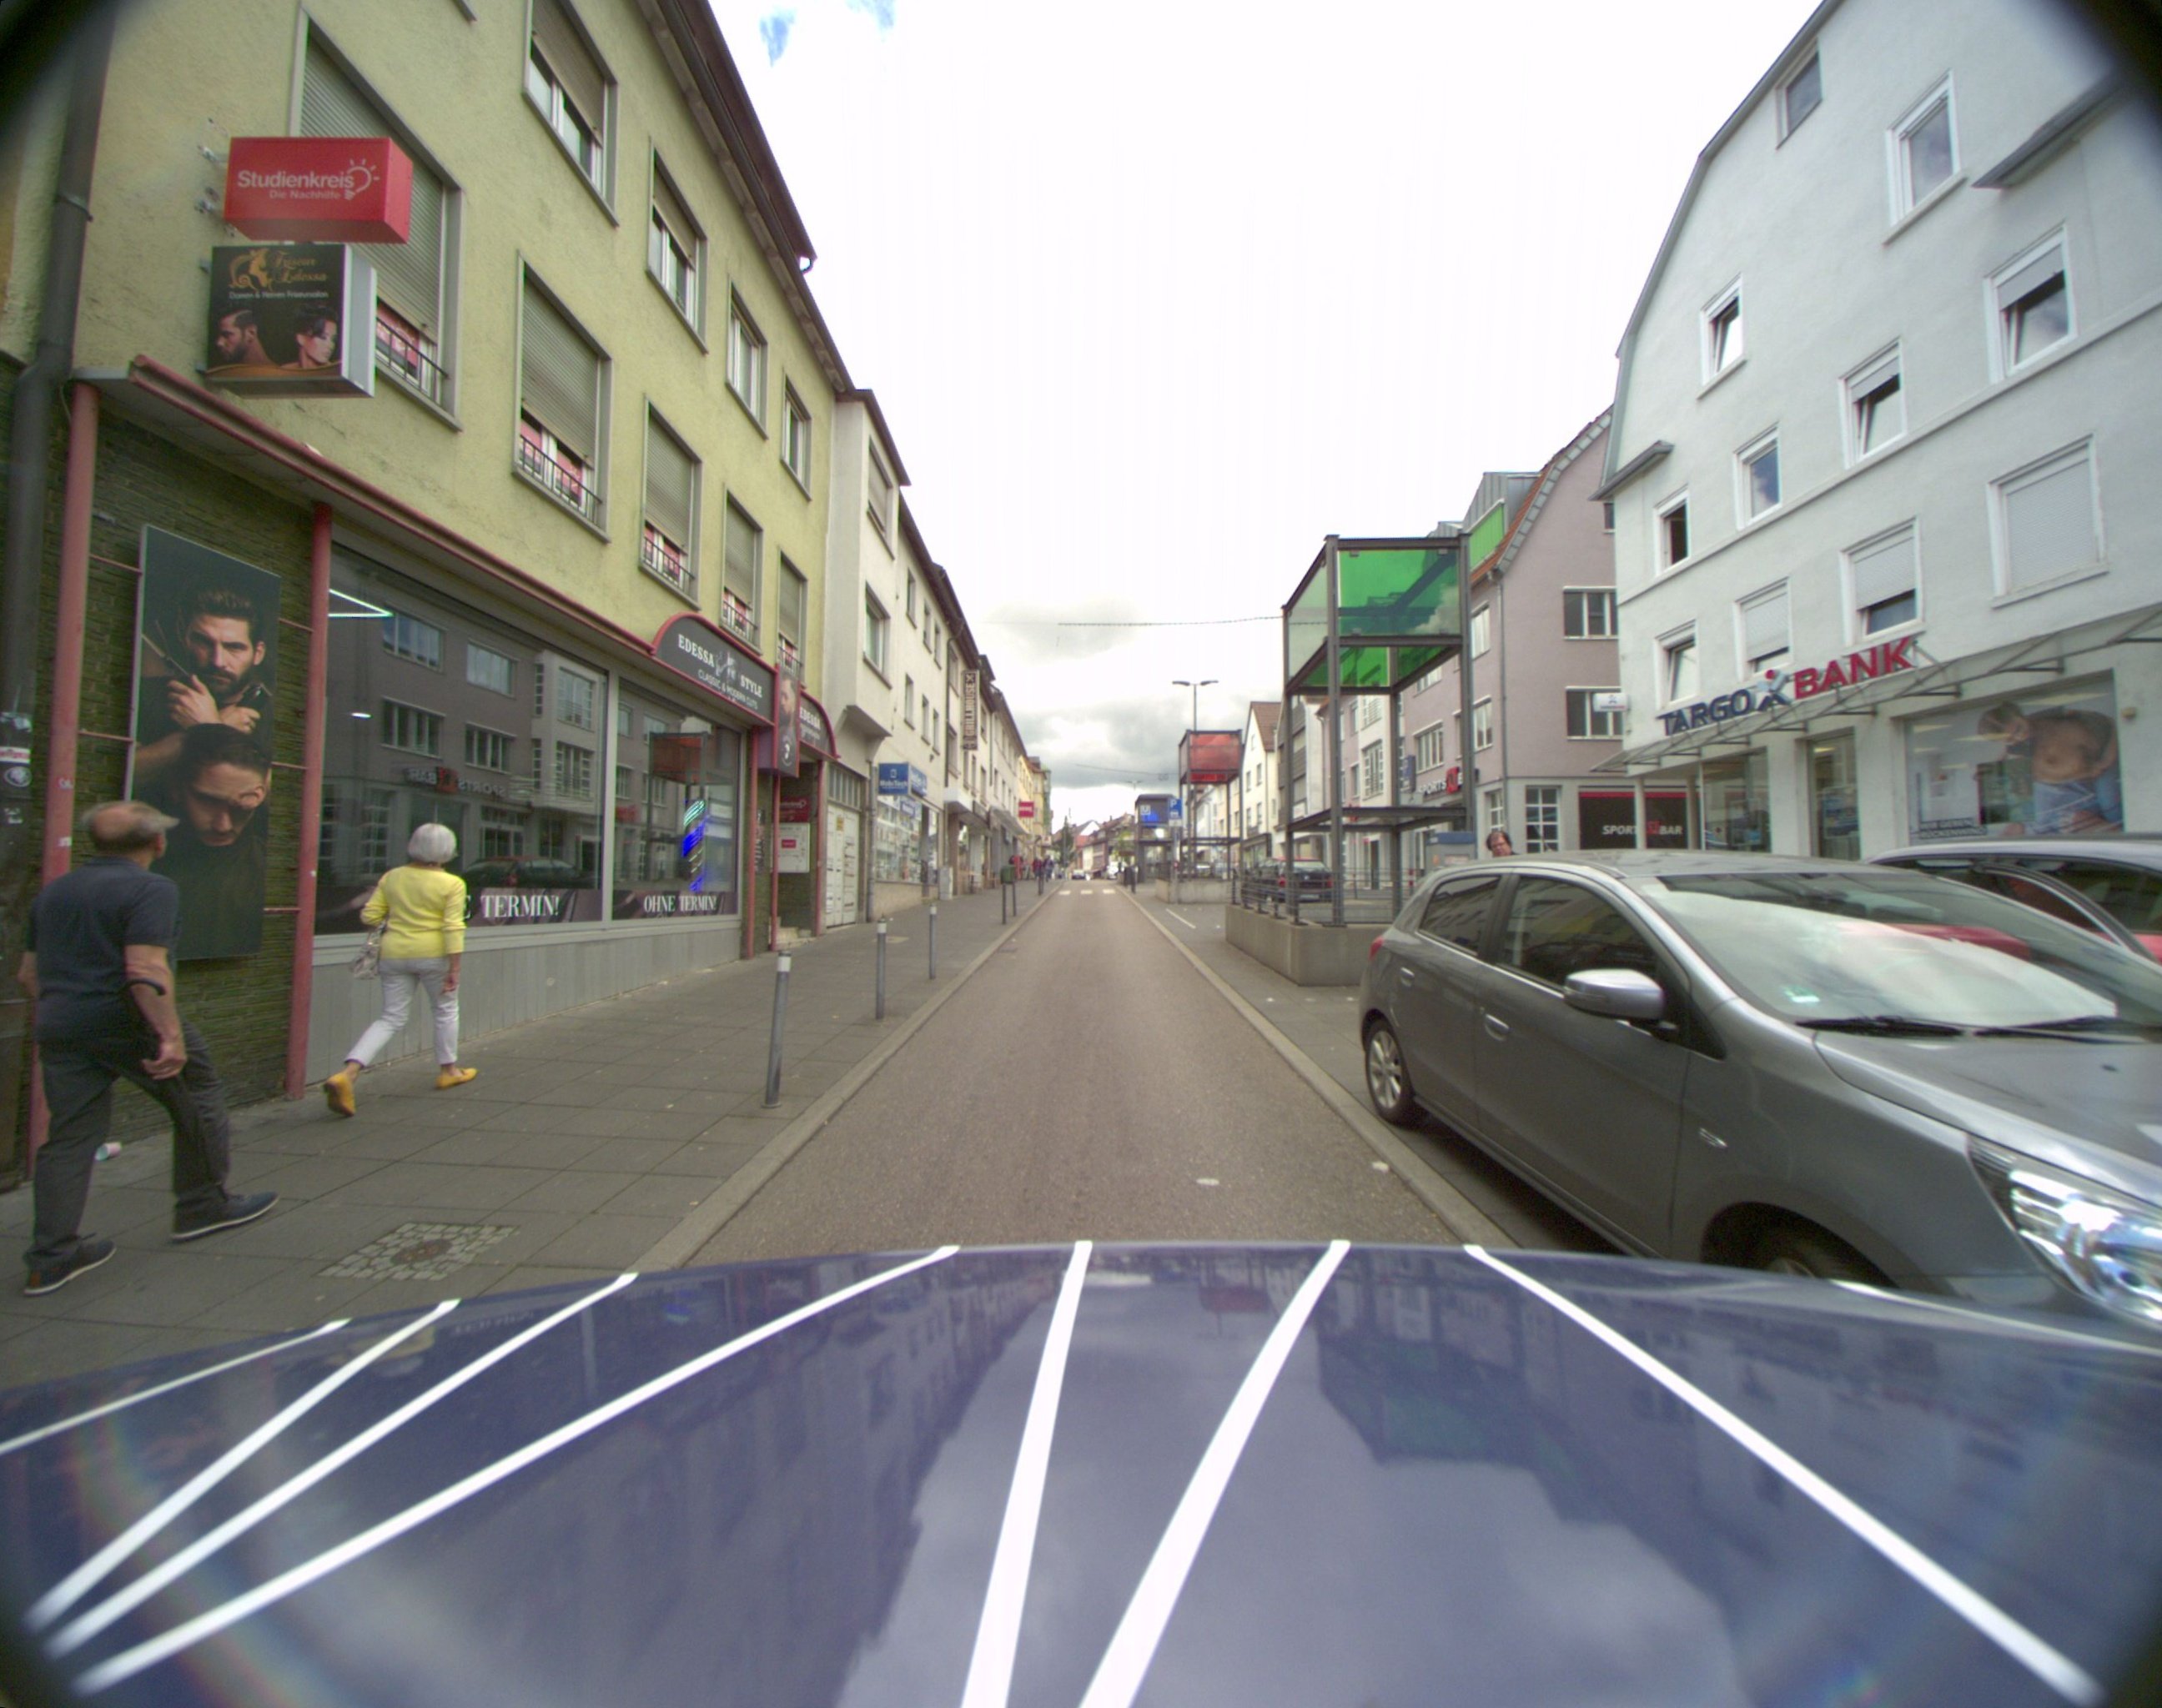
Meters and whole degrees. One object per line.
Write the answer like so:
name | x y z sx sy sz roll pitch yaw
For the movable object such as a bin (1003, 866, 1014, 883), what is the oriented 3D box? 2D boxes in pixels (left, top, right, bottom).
movable object such as a bin | -4.047 1.146 42.527 0.568 0.951 0.498 0 0 1

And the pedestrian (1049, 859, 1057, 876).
pedestrian | -2.722 1.338 74.722 0.657 1.620 0.743 -2 1 -6

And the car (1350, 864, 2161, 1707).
car | 2.388 0.859 2.595 1.624 1.523 3.670 -2 0 0

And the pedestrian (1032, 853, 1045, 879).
pedestrian | -2.722 0.772 48.411 0.740 1.660 0.627 2 1 -8

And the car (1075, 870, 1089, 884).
car | 0.142 2.873 95.143 1.741 1.608 3.843 -2 0 0

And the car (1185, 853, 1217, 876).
car | 8.772 0.715 55.896 1.684 1.562 4.122 -2 0 0

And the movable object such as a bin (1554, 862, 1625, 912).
movable object such as a bin | 14.503 0.915 21.704 1.286 1.368 1.067 -1 0 0

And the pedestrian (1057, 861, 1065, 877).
pedestrian | -1.988 1.468 74.803 0.657 1.620 0.743 -2 1 -6

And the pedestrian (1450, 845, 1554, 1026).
pedestrian | 4.104 0.759 7.467 0.535 1.662 0.901 -1 0 3

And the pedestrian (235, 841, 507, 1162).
pedestrian | -3.946 0.757 4.303 0.713 1.622 0.835 2 0 0

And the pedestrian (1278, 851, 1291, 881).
pedestrian | 11.865 0.691 44.312 0.592 1.706 0.513 -2 1 1

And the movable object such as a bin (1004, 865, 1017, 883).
movable object such as a bin | -3.991 1.114 43.139 0.670 1.024 0.560 0 0 1

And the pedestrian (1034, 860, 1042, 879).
pedestrian | -3.703 1.303 65.168 0.627 1.620 0.607 -2 1 -5

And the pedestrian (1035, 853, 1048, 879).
pedestrian | -2.677 0.787 51.941 0.759 1.715 0.756 3 0 -5

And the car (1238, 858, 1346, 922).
car | 5.365 0.853 19.809 1.573 1.466 3.854 0 0 -3

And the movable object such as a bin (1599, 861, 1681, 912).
movable object such as a bin | 15.813 0.902 21.529 1.286 1.368 1.407 -1 0 0

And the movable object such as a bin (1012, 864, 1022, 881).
movable object such as a bin | -3.861 1.121 45.889 0.560 1.050 0.559 0 0 1

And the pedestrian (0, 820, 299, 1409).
pedestrian | -3.538 0.772 2.649 0.713 1.743 0.785 4 0 0

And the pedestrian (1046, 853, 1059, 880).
pedestrian | -1.832 0.781 48.458 0.740 1.660 0.786 2 0 -8

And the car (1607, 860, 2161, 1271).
car | 5.007 0.832 3.844 1.743 1.534 4.192 0 0 -1

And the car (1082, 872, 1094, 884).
car | 1.058 3.815 122.012 1.741 1.608 3.999 -2 0 -2

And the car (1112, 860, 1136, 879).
car | 3.484 1.252 62.392 1.754 1.452 3.601 -2 0 1

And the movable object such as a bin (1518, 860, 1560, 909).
movable object such as a bin | 13.023 0.860 21.628 0.691 1.368 0.808 -1 0 0

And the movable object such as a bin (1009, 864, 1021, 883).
movable object such as a bin | -3.798 1.132 43.862 0.652 1.074 0.673 0 0 1

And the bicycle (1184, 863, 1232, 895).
bicycle | 4.890 0.942 29.311 1.782 1.216 0.459 0 1 0

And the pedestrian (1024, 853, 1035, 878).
pedestrian | -3.515 0.772 51.802 0.627 1.716 0.607 2 1 -5

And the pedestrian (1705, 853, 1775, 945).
pedestrian | 11.611 0.769 13.413 0.566 1.564 0.716 1 1 0
